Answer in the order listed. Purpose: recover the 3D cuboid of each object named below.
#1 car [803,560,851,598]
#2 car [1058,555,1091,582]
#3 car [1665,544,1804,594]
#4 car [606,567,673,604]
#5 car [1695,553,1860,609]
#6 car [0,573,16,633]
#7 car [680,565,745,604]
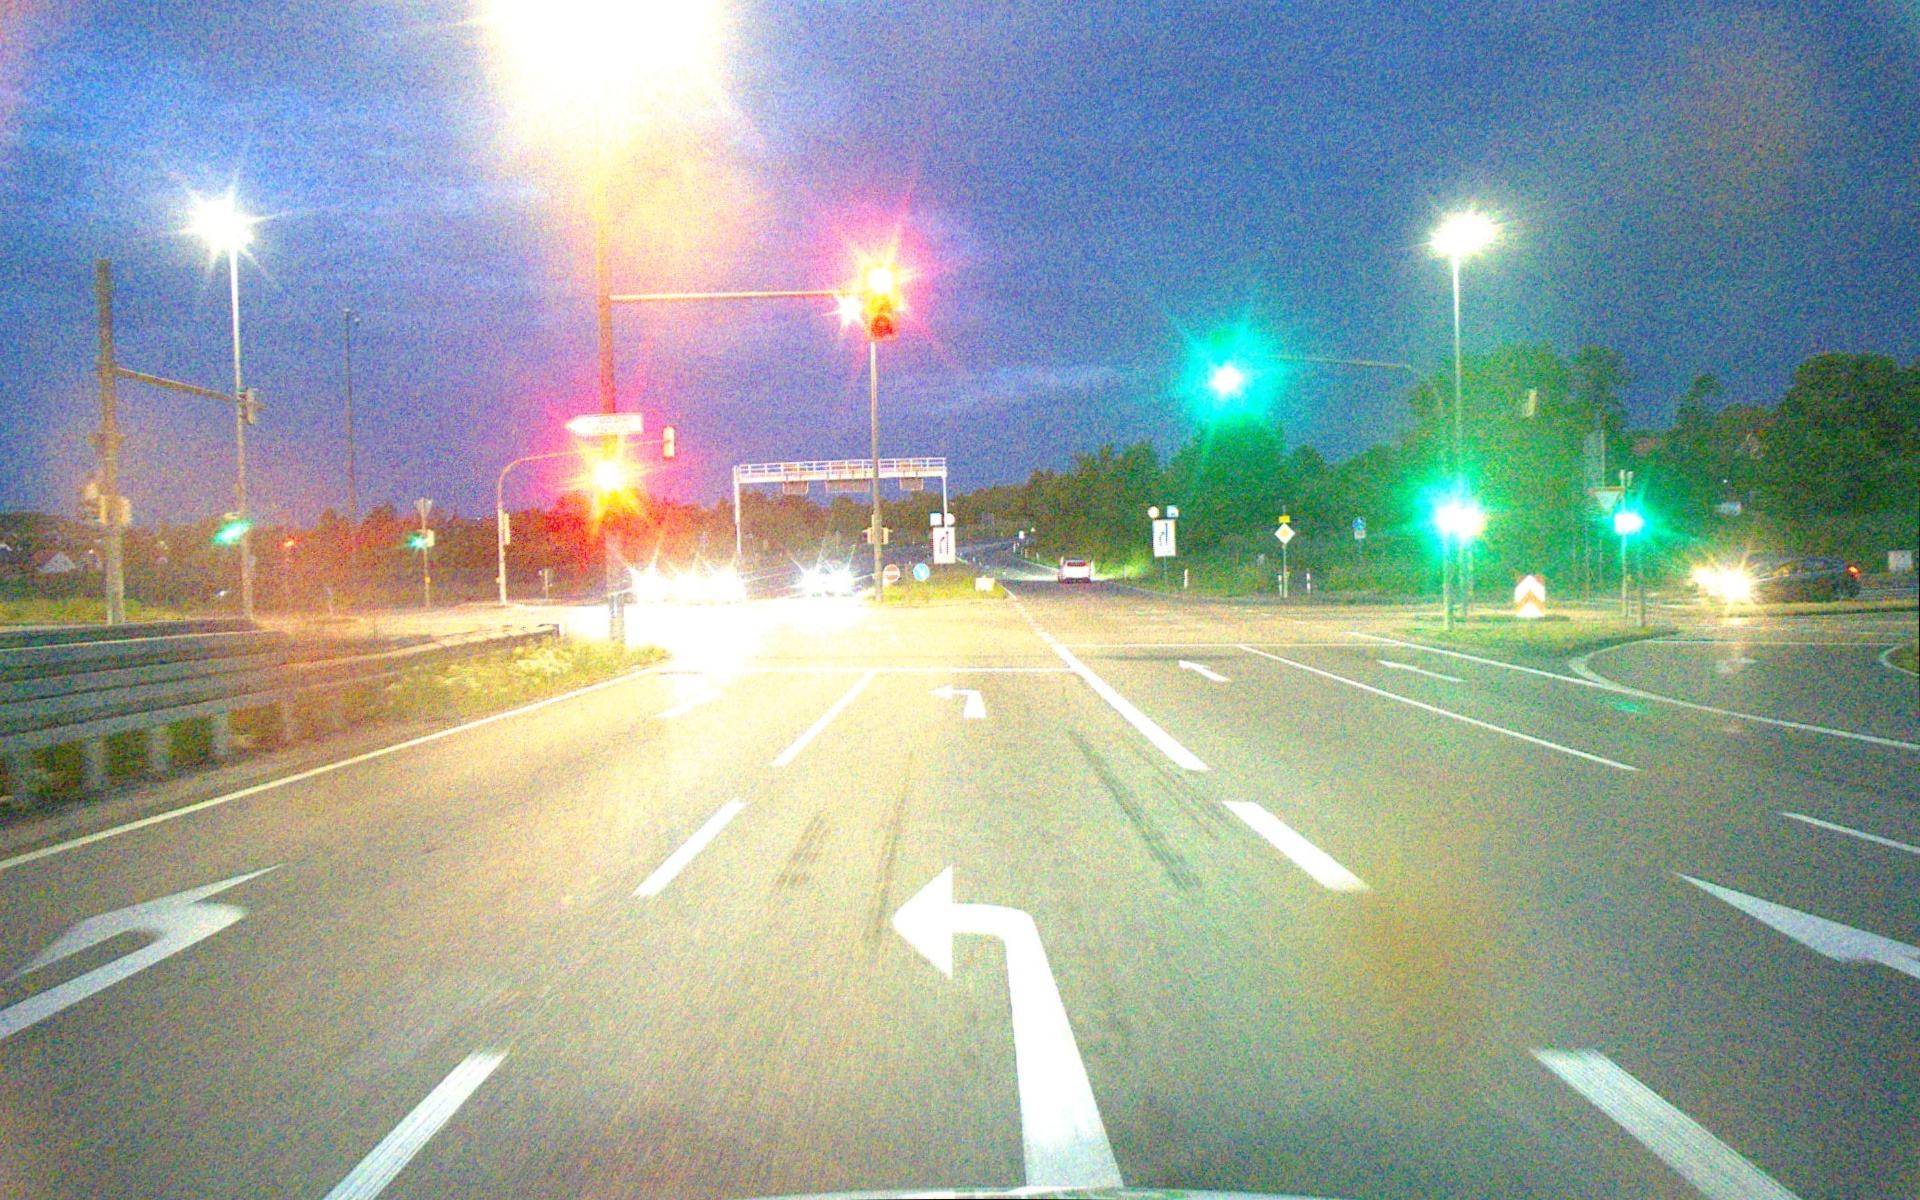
[{"bbox_3d":[-6.282,-1.031,78.417,1.953,1.727,4.000,-1,1,-1],"label":"car"},{"bbox_3d":[7.071,-1.942,102.673,1.966,1.639,3.847,-1,0,3],"label":"car"},{"bbox_3d":[26.549,-1.079,56.758,3.907,1.596,1.900,-1,2,-3],"label":"car"},{"bbox_3d":[-13.425,-0.638,69.450,1.953,1.450,4.532,-1,1,-1],"label":"car"},{"bbox_3d":[24.552,-0.584,49.767,3.992,1.596,2.002,-1,1,-3],"label":"car"},{"bbox_3d":[-26.893,0.124,42.726,3.960,1.564,1.729,-1,1,-3],"label":"car"},{"bbox_3d":[-9.988,-0.641,67.011,1.953,1.507,4.682,-1,1,-1],"label":"car"}]
